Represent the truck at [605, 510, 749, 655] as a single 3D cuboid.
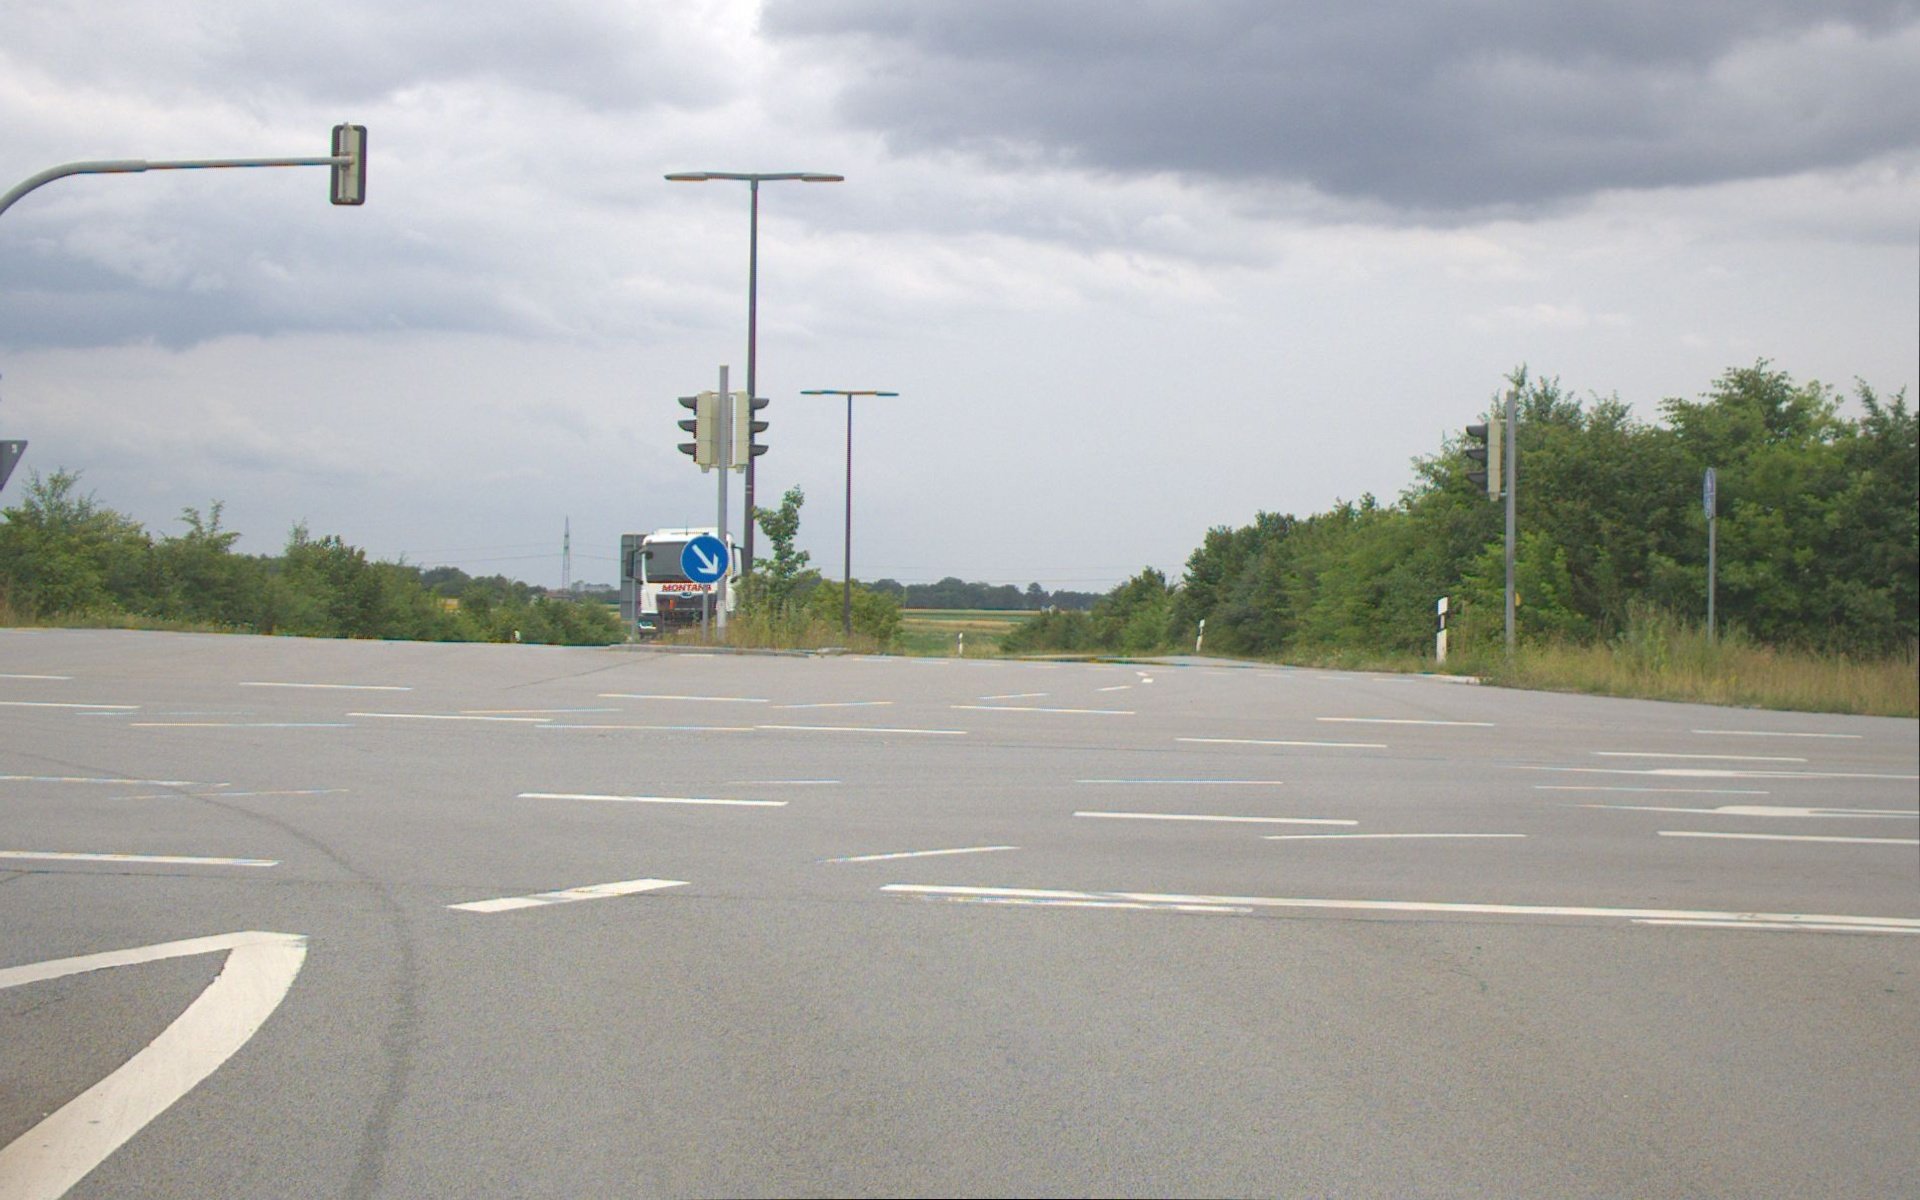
[{"bbox_3d":[-6.947,-0.364,85.586,2.869,3.396,8.650,1,-1,0],"label":"truck"}]
